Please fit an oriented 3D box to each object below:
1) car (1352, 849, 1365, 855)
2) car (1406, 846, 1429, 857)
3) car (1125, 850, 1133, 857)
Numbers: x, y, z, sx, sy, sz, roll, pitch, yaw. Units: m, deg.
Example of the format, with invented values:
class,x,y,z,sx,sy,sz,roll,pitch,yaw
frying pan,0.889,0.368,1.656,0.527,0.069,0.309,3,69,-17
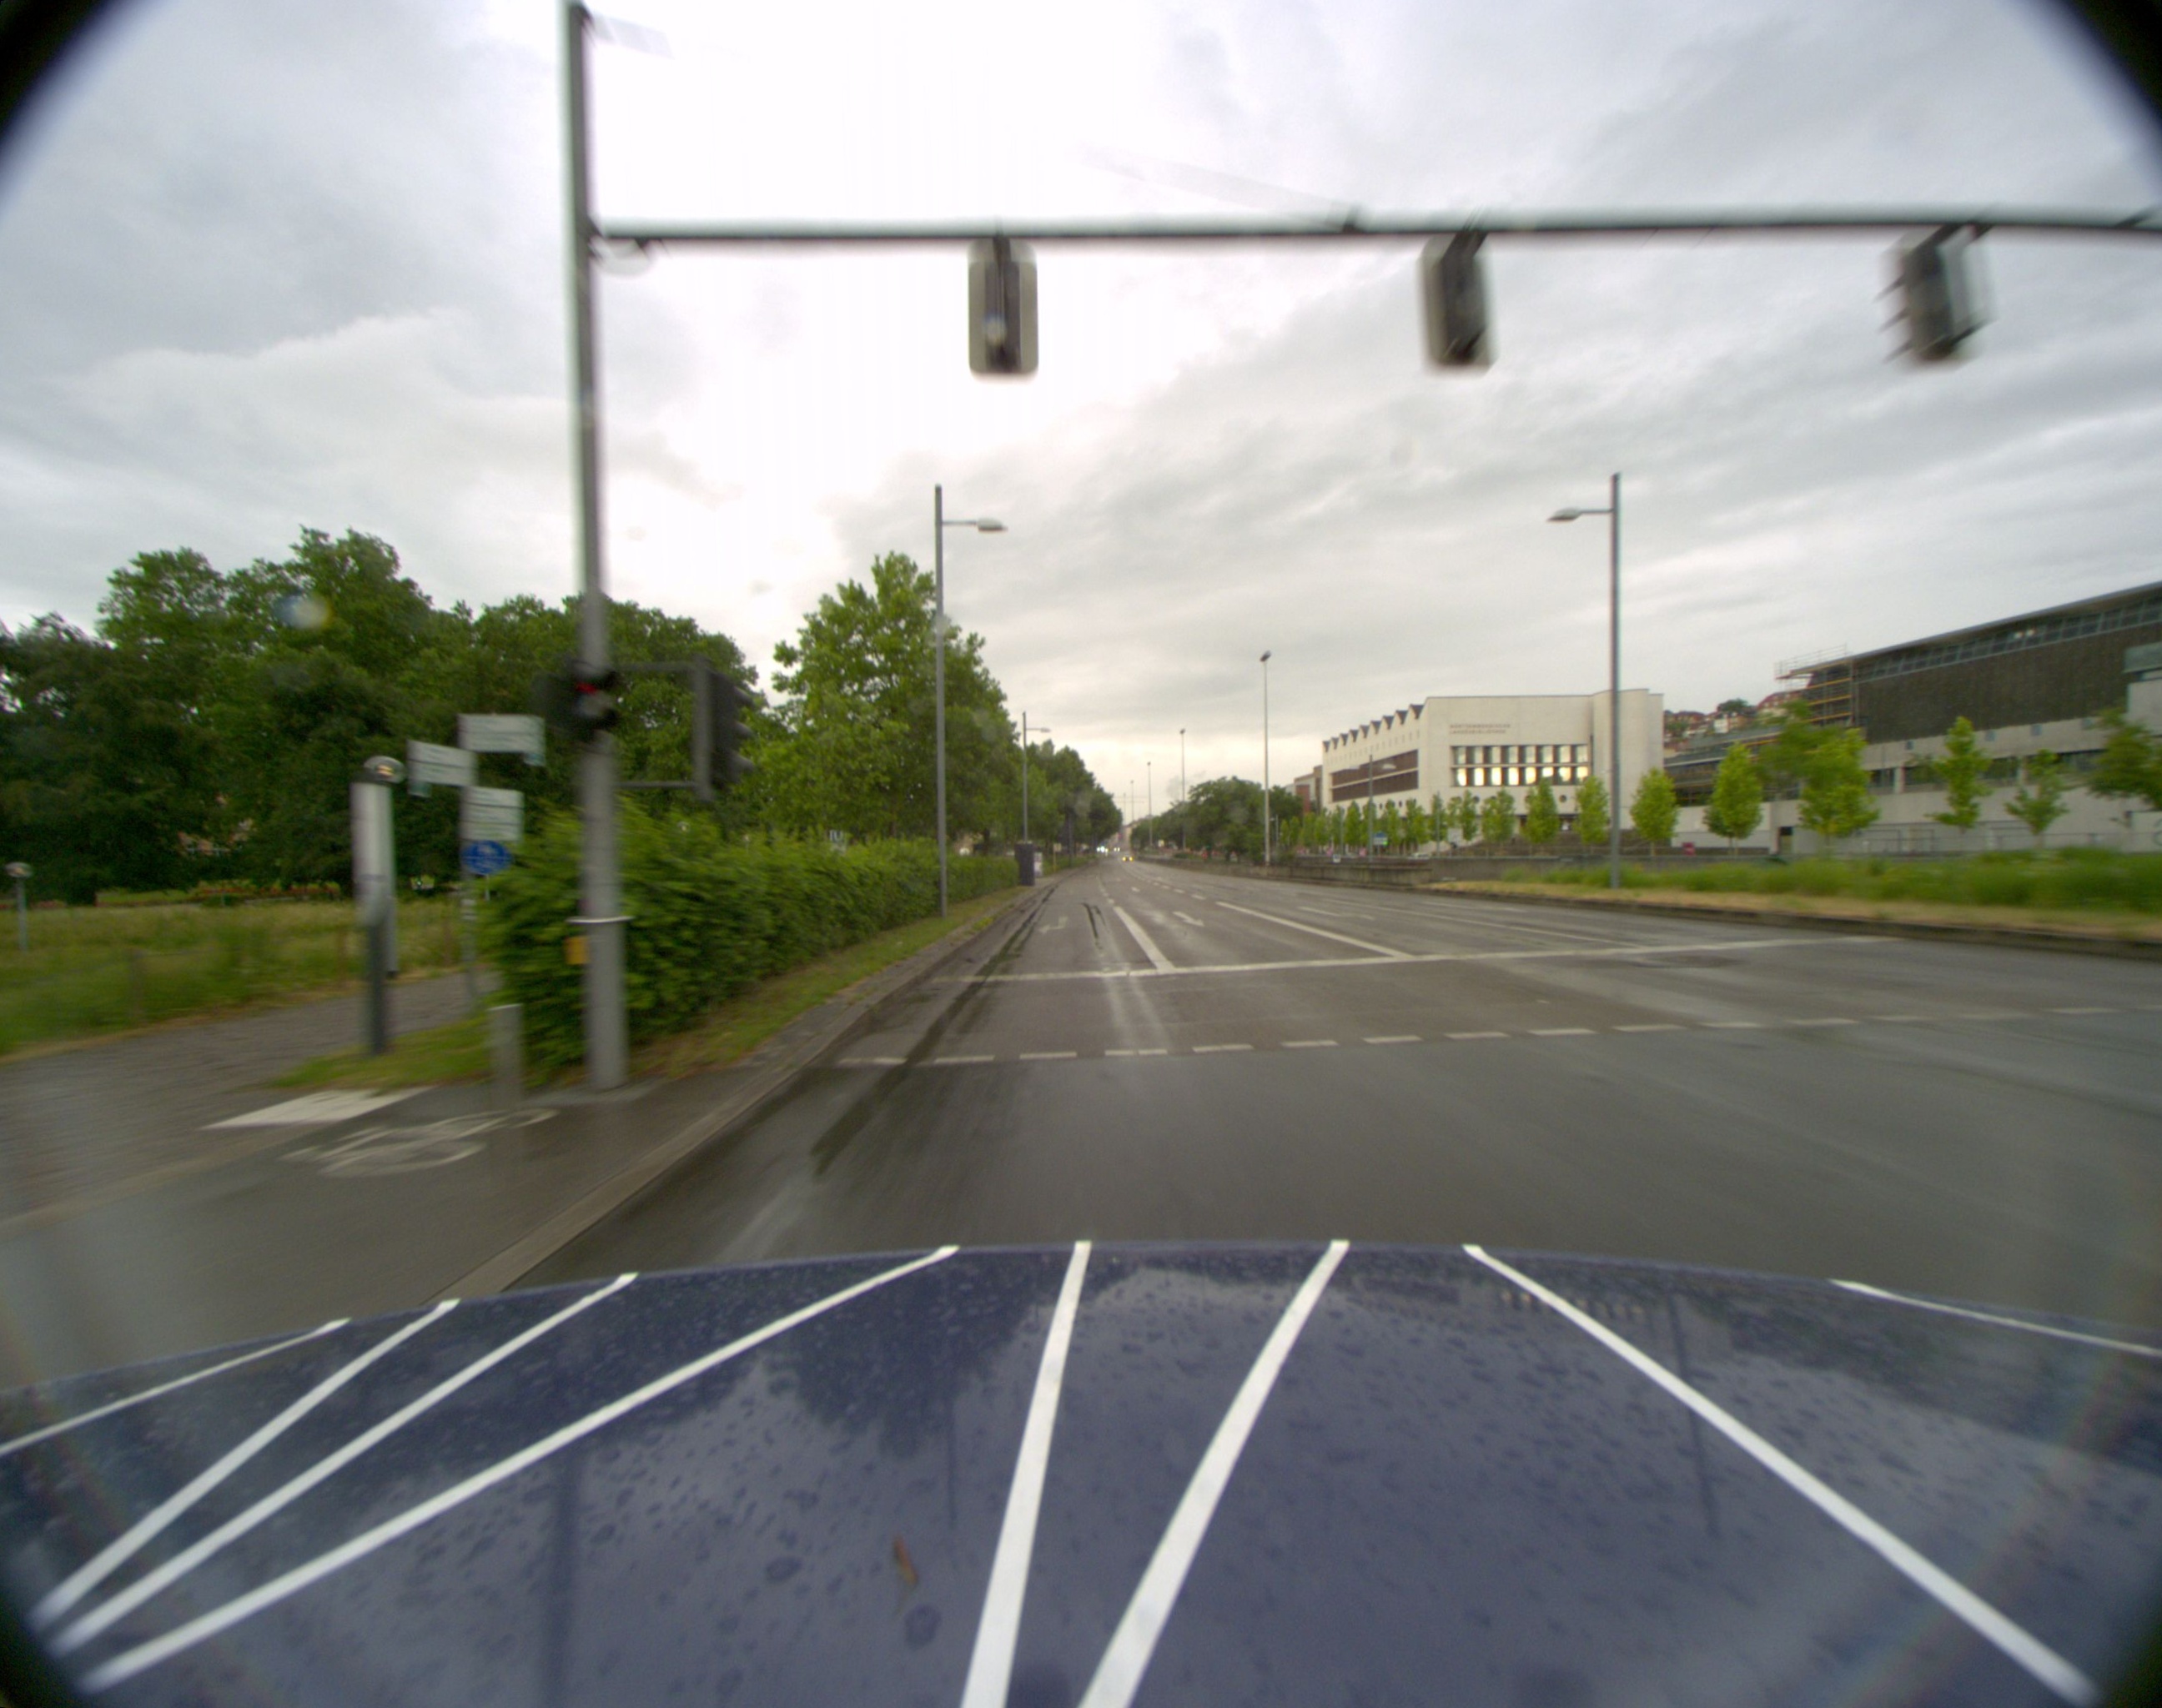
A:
class,x,y,z,sx,sy,sz,roll,pitch,yaw
car,39.477,-0.256,108.129,0.821,0.741,2.552,-2,2,-3
car,40.141,-0.291,90.616,1.444,1.108,3.019,-2,2,0
car,10.128,-0.132,159.818,1.517,1.138,2.760,-2,2,5
